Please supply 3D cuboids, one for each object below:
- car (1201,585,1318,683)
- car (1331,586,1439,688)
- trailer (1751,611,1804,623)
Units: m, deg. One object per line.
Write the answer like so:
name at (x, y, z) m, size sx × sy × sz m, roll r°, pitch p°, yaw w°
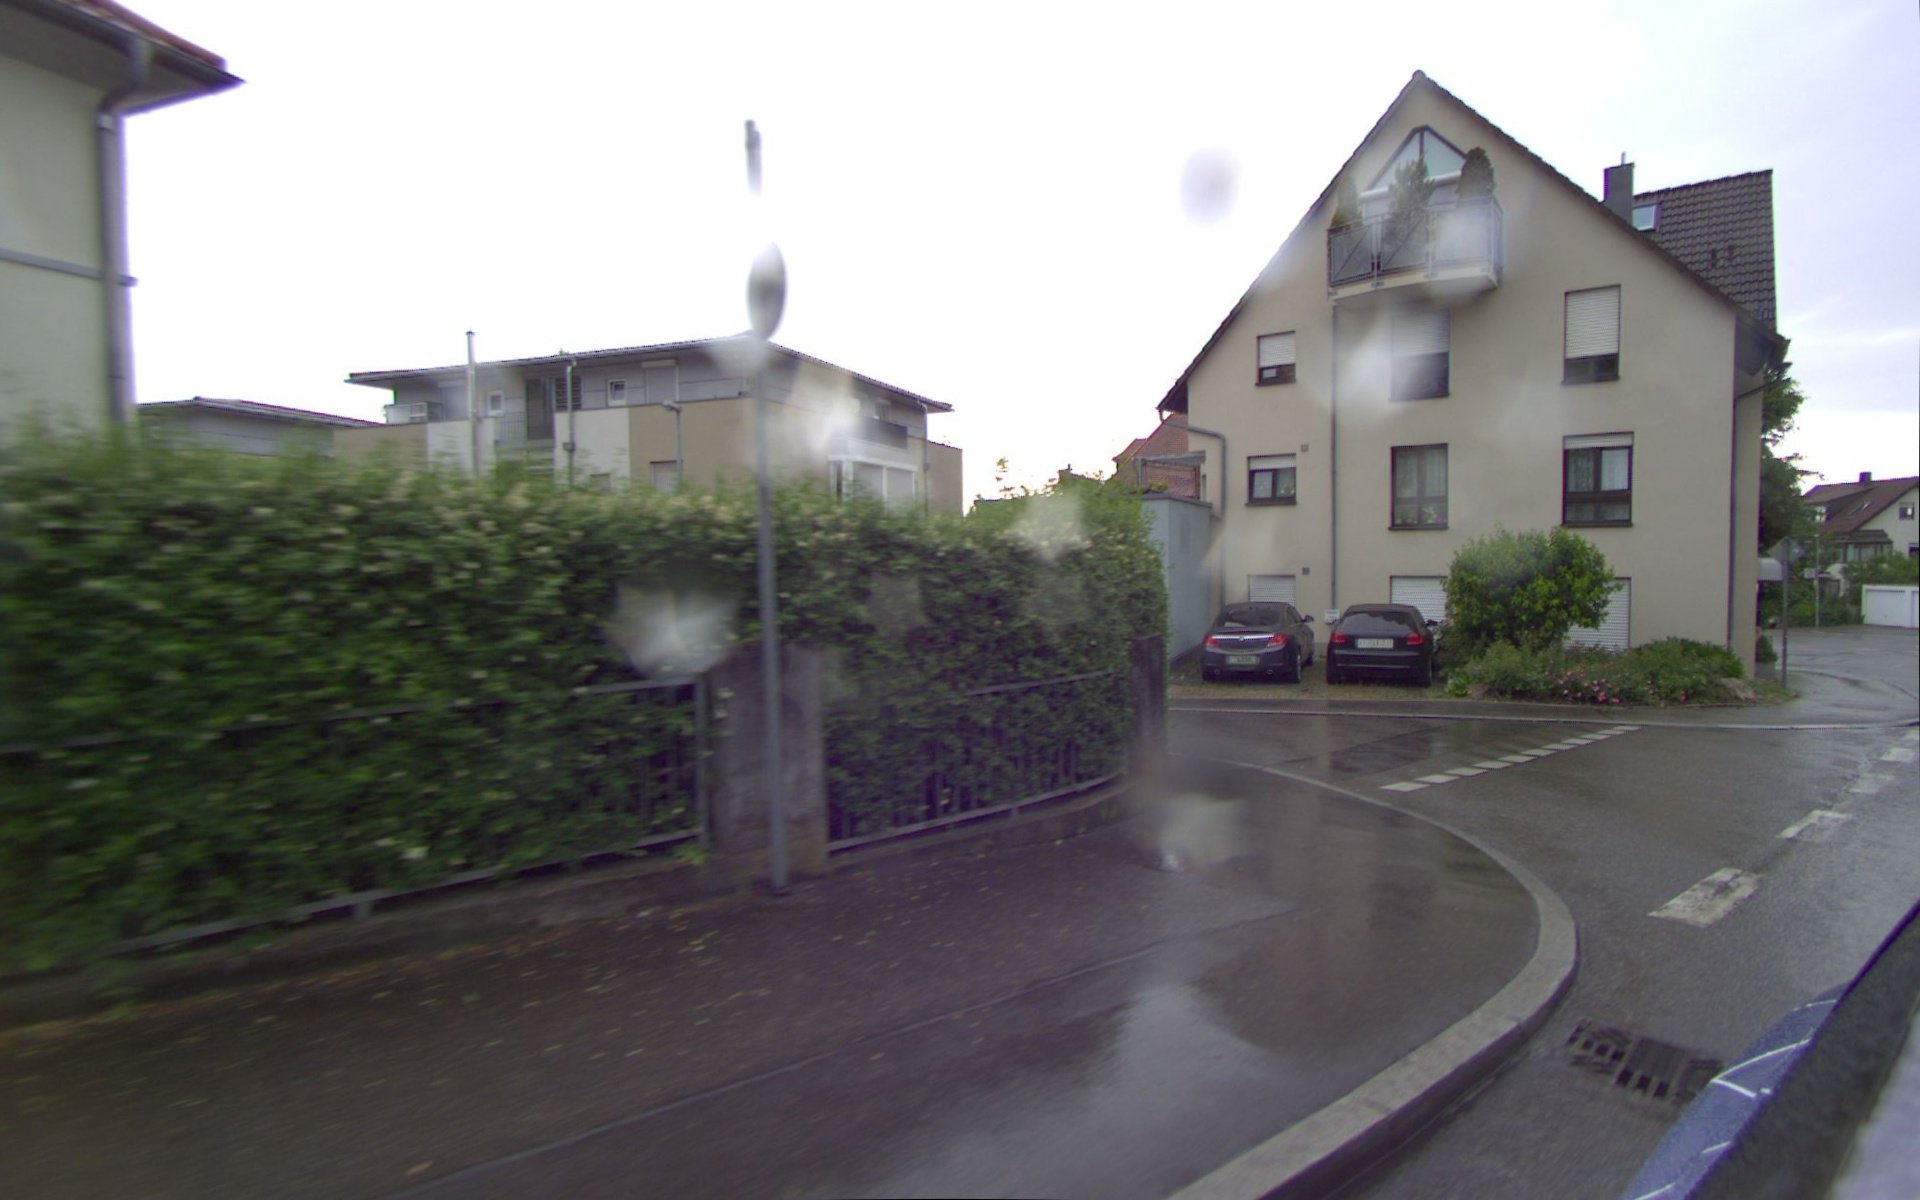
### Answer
car at (5.999, 0.590, 20.011) m, size 1.706 × 1.424 × 3.742 m, roll -1°, pitch 5°, yaw 25°
car at (8.090, 0.609, 19.182) m, size 1.706 × 1.424 × 3.742 m, roll -1°, pitch 5°, yaw 25°
trailer at (54.081, 1.103, 67.000) m, size 1.716 × 0.768 × 2.812 m, roll 0°, pitch 0°, yaw 15°
